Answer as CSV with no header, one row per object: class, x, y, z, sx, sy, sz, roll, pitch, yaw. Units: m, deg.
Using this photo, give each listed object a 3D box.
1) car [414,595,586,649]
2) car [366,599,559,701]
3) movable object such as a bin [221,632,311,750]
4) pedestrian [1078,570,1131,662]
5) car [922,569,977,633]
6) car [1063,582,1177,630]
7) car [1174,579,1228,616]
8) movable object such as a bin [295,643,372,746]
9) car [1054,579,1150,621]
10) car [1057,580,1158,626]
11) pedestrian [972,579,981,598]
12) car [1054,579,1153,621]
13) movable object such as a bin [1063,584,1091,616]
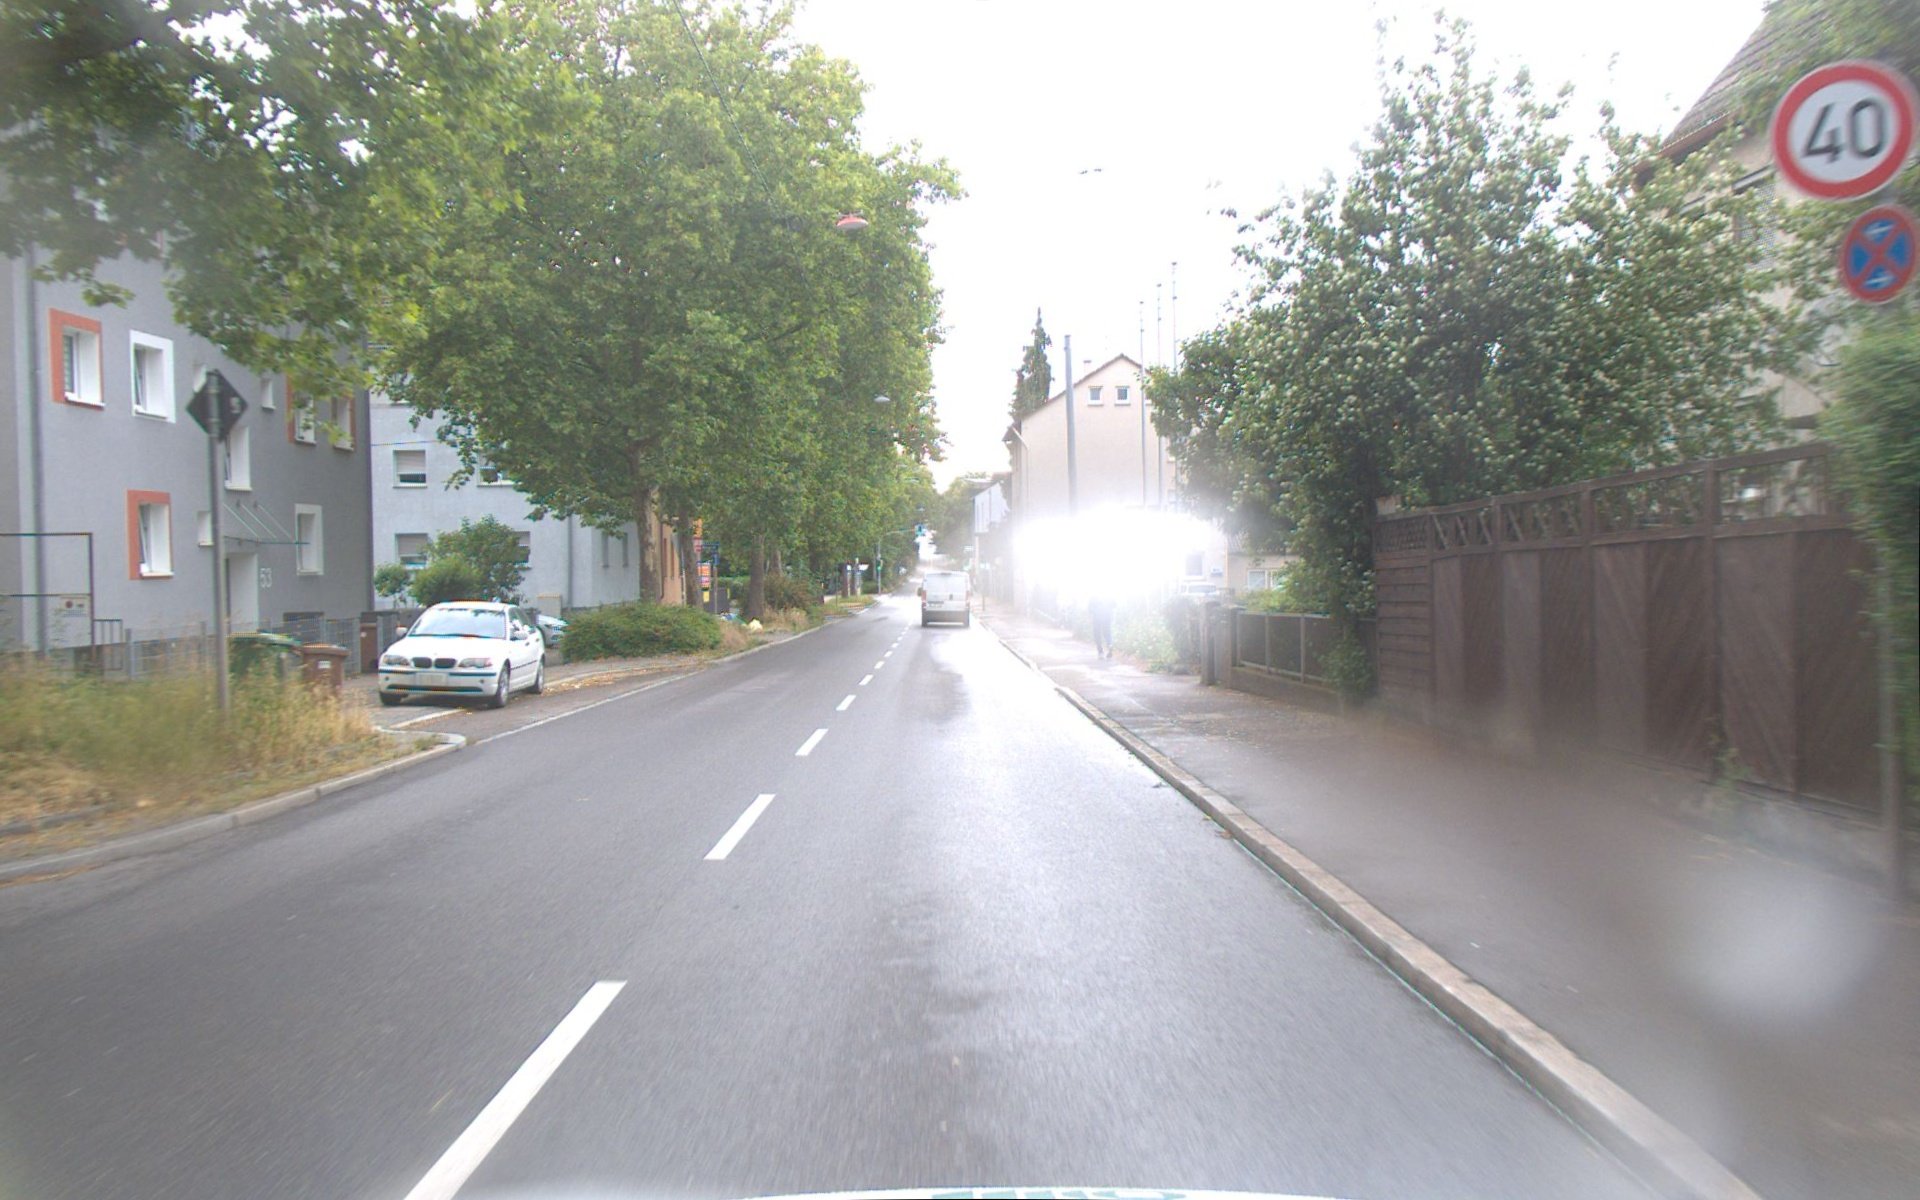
car,-13.592,0.649,49.068,4.568,1.502,1.869,1,-1,-1
car,-7.159,0.659,24.260,1.721,1.349,4.535,0,0,-4
movable object such as a bin,-6.619,0.858,15.794,0.523,1.076,0.762,-2,-1,-1
pedestrian,3.101,0.340,35.597,1.022,1.930,0.900,-1,-1,-1
car,-0.433,0.053,69.520,2.236,2.597,3.999,0,-1,-1
car,6.197,0.256,64.382,4.215,1.799,1.999,1,-1,-1
car,10.715,-0.084,73.816,1.771,1.557,3.626,1,-1,-1
movable object such as a bin,-6.013,0.895,15.894,0.501,0.944,0.581,-2,-1,-1
car,6.390,0.011,74.570,4.142,1.767,1.869,1,-1,-1
car,5.928,0.124,66.855,3.868,1.754,1.791,1,0,-1
pedestrian,1.571,-1.115,160.012,0.728,1.734,0.900,1,-1,-6
car,6.235,0.000,72.100,4.142,1.767,1.869,1,-1,-1
movable object such as a bin,5.861,-0.014,82.875,1.209,1.536,1.110,-3,-1,-2
